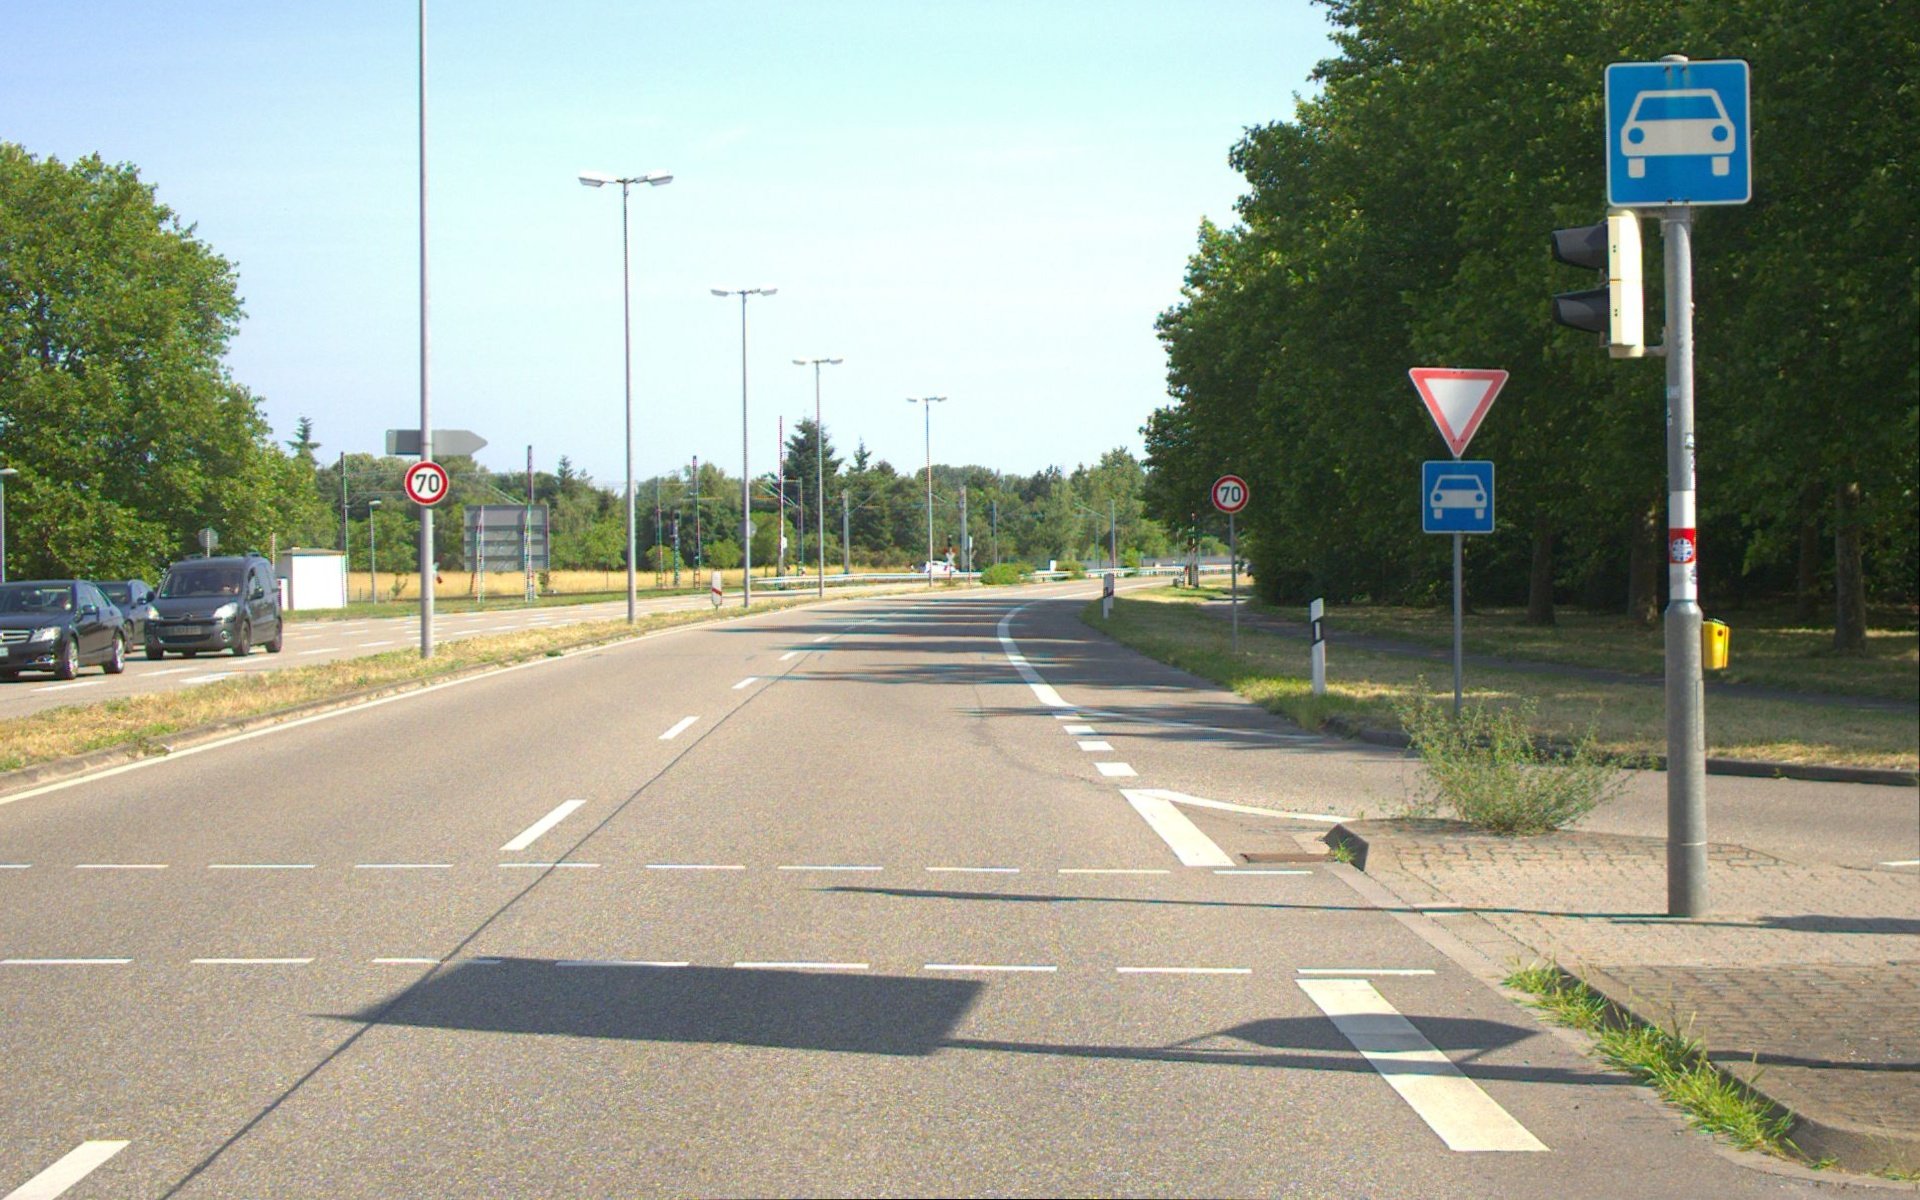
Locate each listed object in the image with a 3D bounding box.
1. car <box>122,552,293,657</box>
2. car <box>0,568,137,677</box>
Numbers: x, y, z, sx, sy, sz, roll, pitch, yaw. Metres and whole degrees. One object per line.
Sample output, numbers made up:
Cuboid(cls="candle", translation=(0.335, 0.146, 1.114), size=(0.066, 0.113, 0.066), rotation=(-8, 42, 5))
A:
Cuboid(cls="car", translation=(-13.279, 0.054, 60.921), size=(1.981, 1.773, 4.490), rotation=(-1, 1, 0))
Cuboid(cls="car", translation=(-13.217, 0.293, 48.593), size=(1.981, 1.452, 4.450), rotation=(-1, 1, 2))
